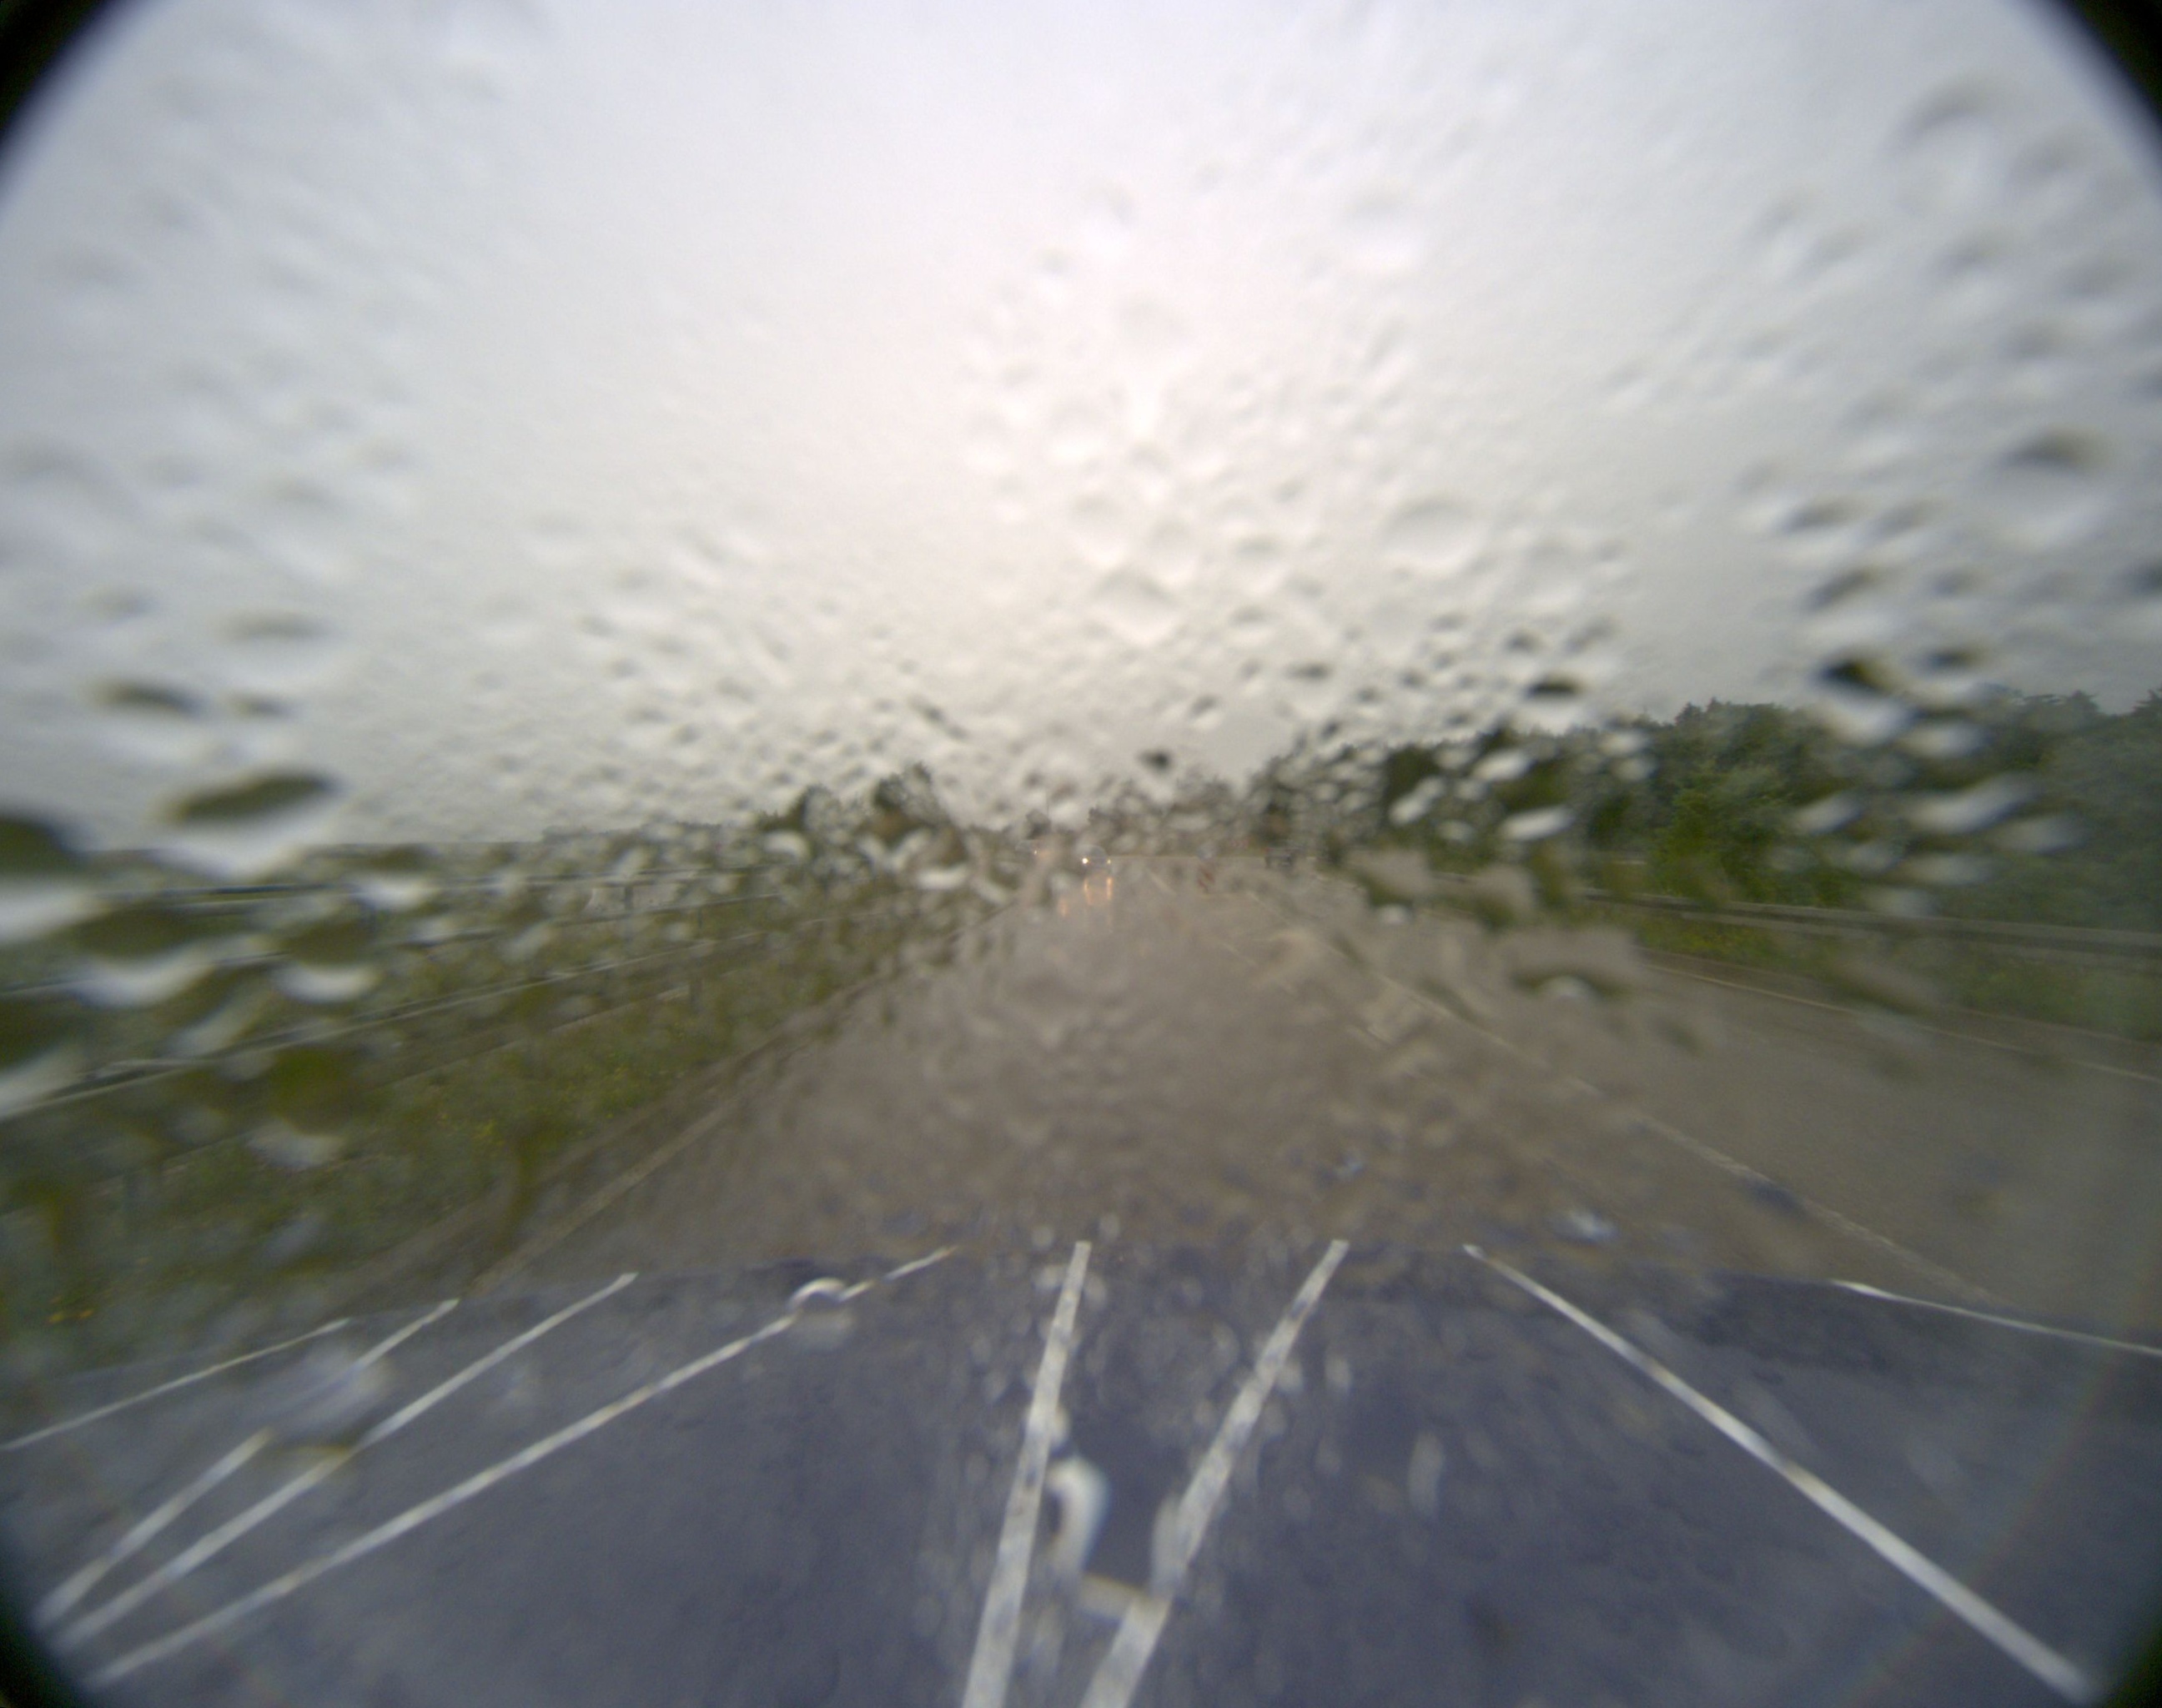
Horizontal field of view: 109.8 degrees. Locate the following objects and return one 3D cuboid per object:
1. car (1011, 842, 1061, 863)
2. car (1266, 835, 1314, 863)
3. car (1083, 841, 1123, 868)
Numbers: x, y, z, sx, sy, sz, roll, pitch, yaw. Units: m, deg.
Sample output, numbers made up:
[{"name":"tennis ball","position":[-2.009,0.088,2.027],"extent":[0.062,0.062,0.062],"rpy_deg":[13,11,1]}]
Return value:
[{"name":"car","position":[-3.327,-0.103,54.800],"extent":[1.767,1.412,4.492],"rpy_deg":[0,0,-30]},{"name":"car","position":[13.292,-0.340,48.163],"extent":[1.801,1.566,4.007],"rpy_deg":[0,3,33]},{"name":"car","position":[1.125,0.013,41.562],"extent":[1.949,1.363,4.503],"rpy_deg":[0,0,-1]}]
